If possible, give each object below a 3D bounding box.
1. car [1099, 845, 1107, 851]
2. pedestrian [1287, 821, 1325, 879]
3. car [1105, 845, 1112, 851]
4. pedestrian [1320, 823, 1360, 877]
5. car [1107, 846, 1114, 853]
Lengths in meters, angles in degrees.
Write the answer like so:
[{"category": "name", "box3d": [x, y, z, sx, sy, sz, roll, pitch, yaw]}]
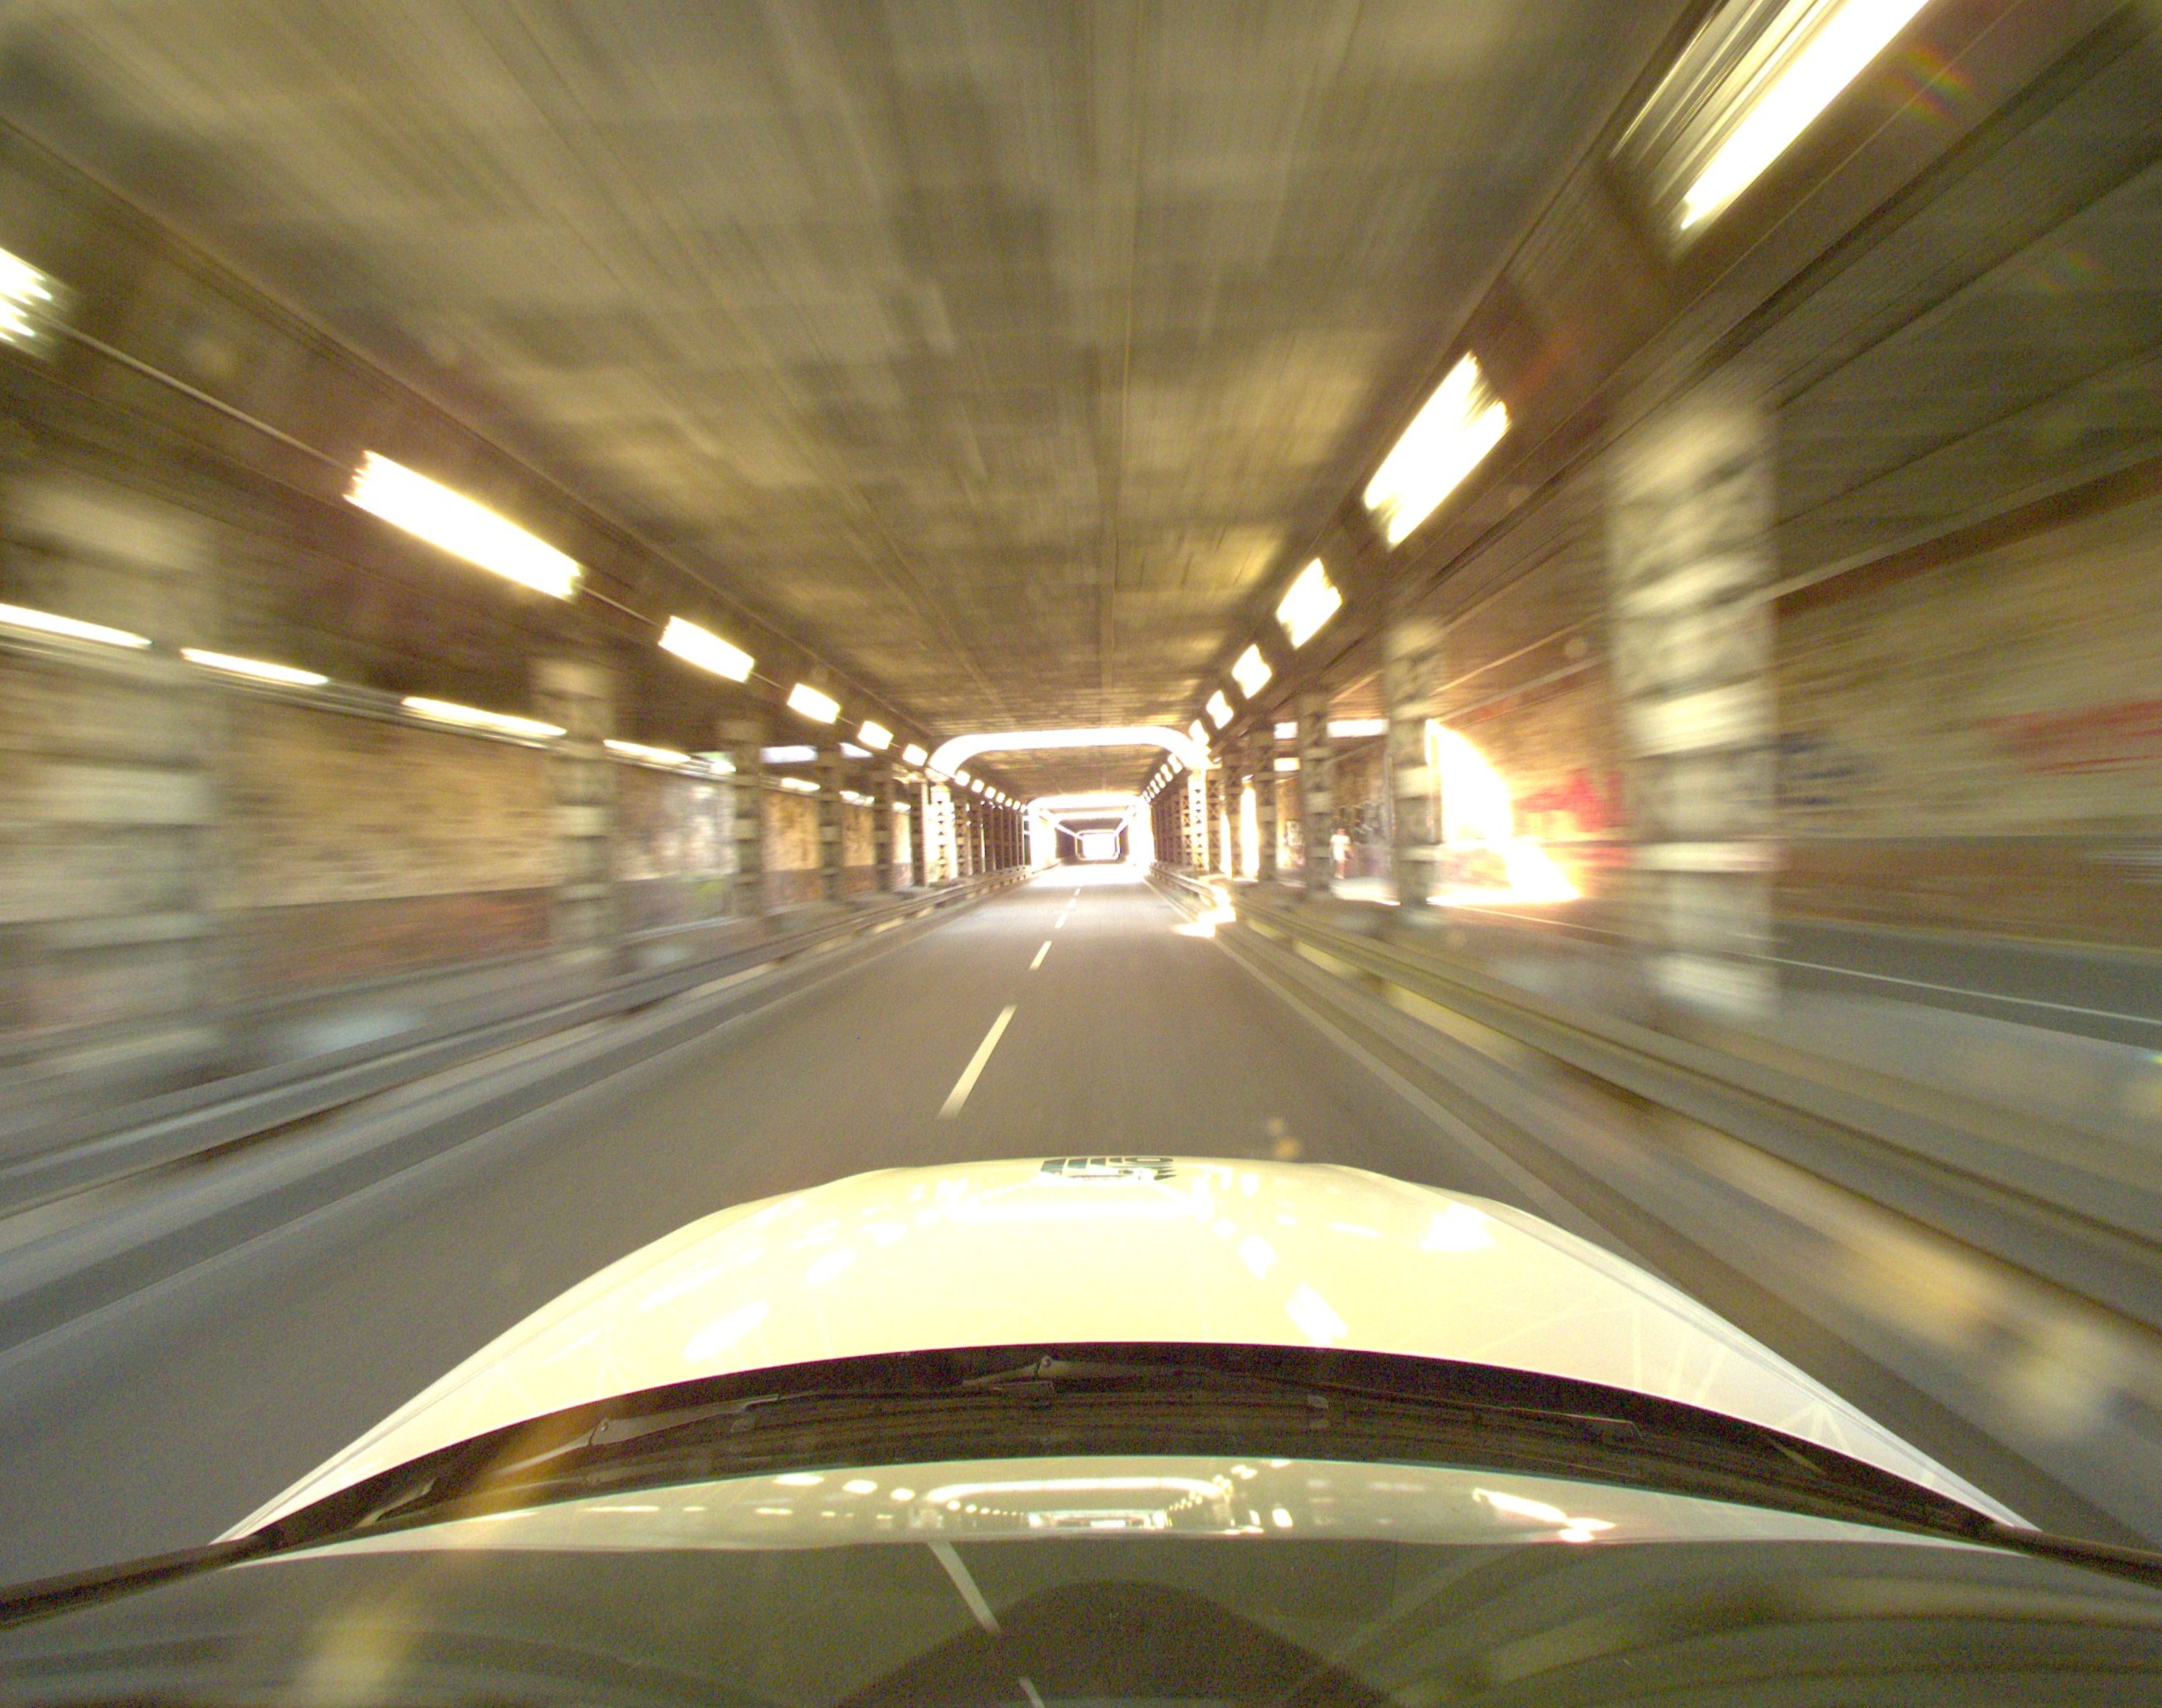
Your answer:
[{"category": "car", "box3d": [6.325, -1.722, 232.886, 1.986, 1.784, 4.001, -3, 0, 1]}, {"category": "pedestrian", "box3d": [7.568, -0.134, 27.469, 0.878, 1.835, 0.922, -5, 0, -2]}, {"category": "car", "box3d": [7.591, -1.663, 226.549, 1.986, 1.784, 4.001, -3, 0, 1]}, {"category": "pedestrian", "box3d": [8.445, -0.128, 26.589, 0.914, 1.656, 0.886, -5, 0, -2]}, {"category": "car", "box3d": [7.865, -1.312, 217.546, 1.986, 1.784, 4.001, -3, 0, 1]}]
